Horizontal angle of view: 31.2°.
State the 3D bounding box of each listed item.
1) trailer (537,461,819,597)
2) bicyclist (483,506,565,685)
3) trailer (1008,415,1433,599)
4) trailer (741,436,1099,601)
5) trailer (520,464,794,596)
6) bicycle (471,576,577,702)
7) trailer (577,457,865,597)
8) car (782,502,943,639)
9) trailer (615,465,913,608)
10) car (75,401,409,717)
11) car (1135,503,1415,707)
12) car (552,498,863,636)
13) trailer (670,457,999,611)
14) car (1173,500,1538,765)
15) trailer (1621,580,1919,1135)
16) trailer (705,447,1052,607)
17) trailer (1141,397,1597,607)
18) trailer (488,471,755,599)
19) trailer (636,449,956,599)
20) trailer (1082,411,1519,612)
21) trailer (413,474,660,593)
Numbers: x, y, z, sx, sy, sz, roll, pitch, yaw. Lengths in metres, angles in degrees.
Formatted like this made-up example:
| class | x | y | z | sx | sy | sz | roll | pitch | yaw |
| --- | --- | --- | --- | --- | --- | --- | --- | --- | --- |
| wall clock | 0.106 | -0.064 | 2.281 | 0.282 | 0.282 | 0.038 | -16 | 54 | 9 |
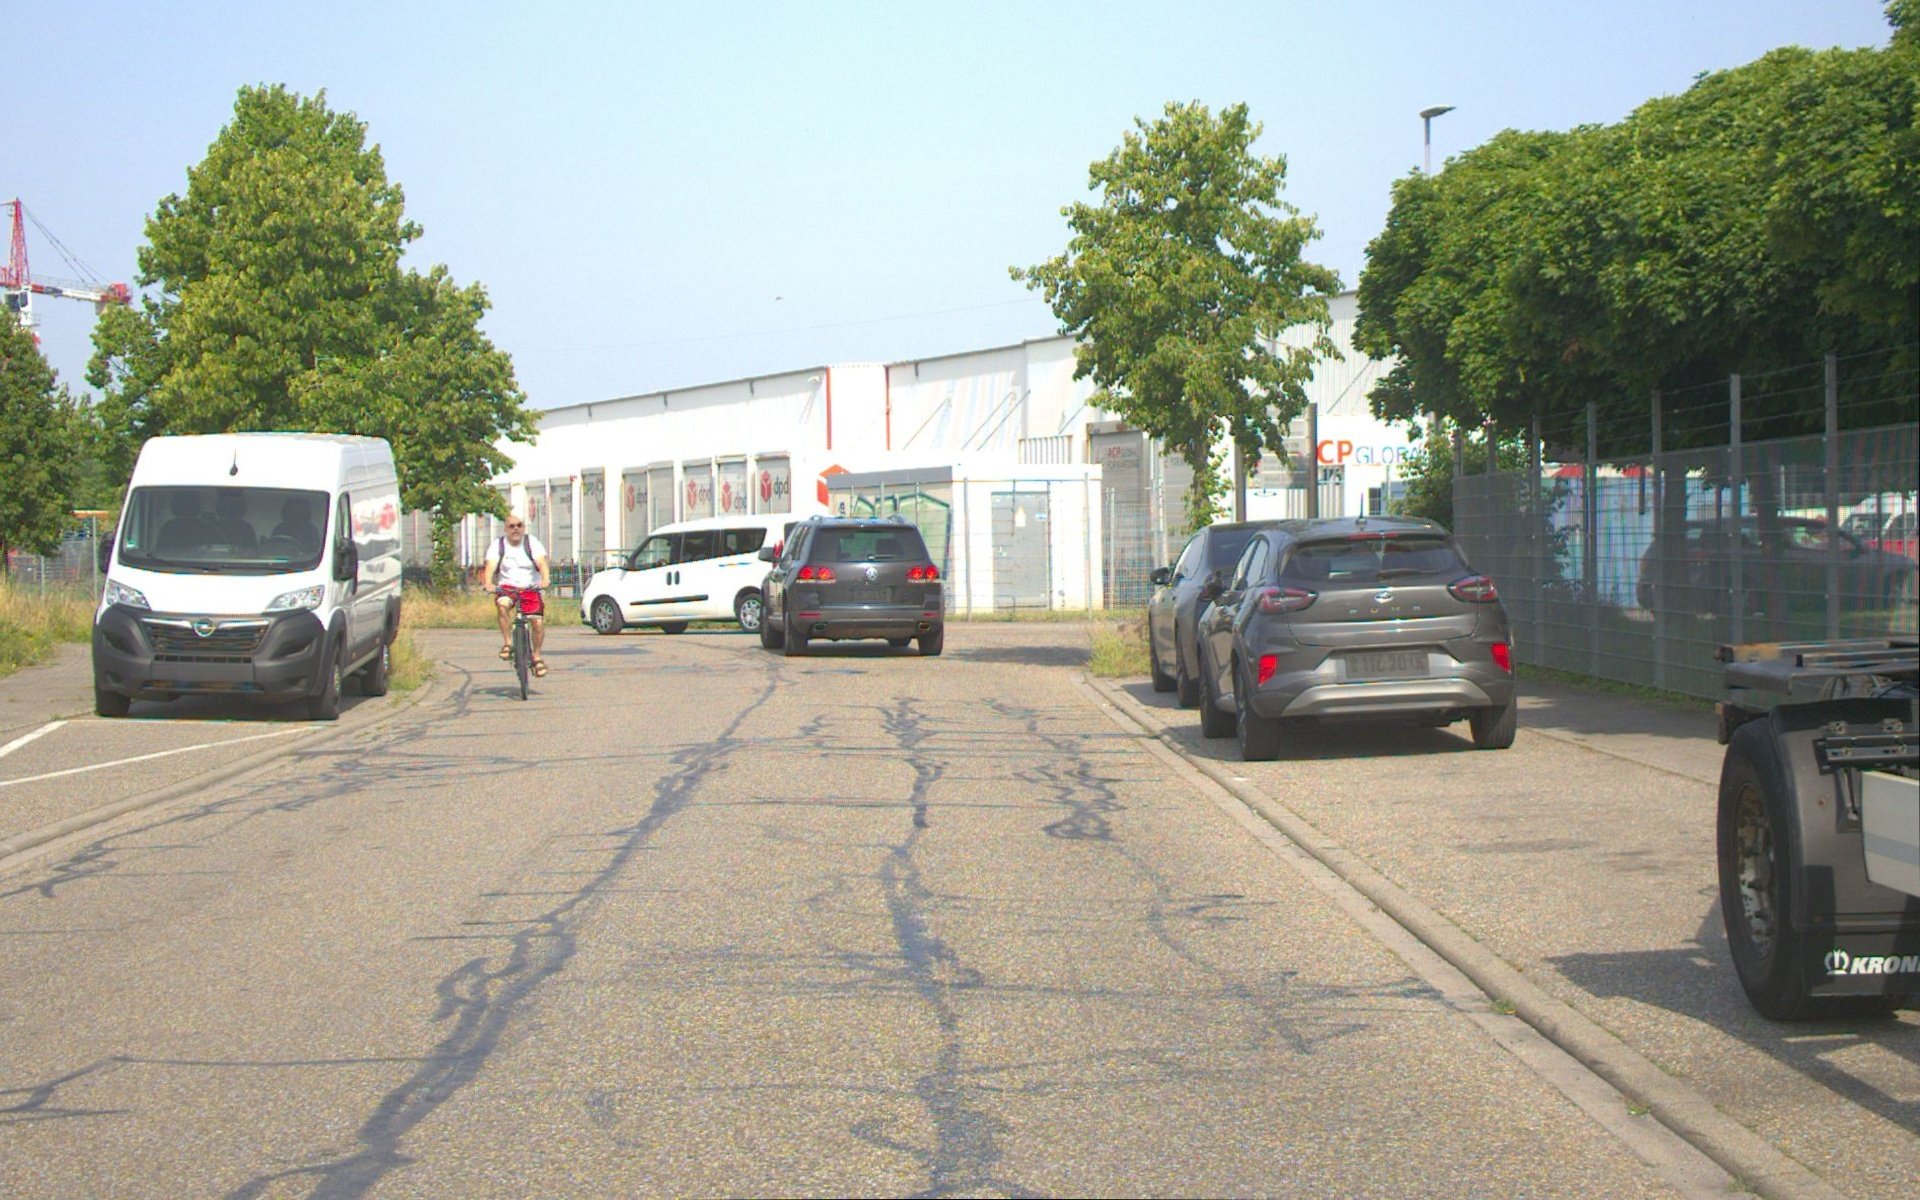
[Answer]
| class | x | y | z | sx | sy | sz | roll | pitch | yaw |
| --- | --- | --- | --- | --- | --- | --- | --- | --- | --- |
| trailer | -8.529 | -2.136 | 104.267 | 7.960 | 3.880 | 2.776 | 1 | 1 | -24 |
| bicyclist | -4.256 | -0.058 | 33.616 | 0.639 | 1.713 | 1.165 | -1 | 1 | -1 |
| trailer | 5.572 | -1.927 | 73.144 | 8.730 | 3.748 | 2.791 | 0 | 0 | -24 |
| trailer | -0.985 | -2.014 | 86.617 | 8.534 | 3.880 | 2.776 | 1 | 1 | -24 |
| trailer | -9.440 | -2.158 | 107.192 | 7.960 | 3.880 | 2.776 | 1 | 1 | -24 |
| bicycle | -4.244 | 0.358 | 33.619 | 0.716 | 1.118 | 2.219 | -3 | 1 | -1 |
| trailer | -7.051 | -2.124 | 101.621 | 7.960 | 3.880 | 2.776 | 1 | 1 | -24 |
| car | -1.190 | -0.369 | 42.740 | 1.880 | 1.581 | 4.114 | -1 | 1 | -1 |
| trailer | -5.621 | -1.811 | 98.998 | 8.031 | 3.880 | 2.776 | 1 | 1 | -24 |
| car | -6.525 | -0.402 | 32.002 | 2.102 | 2.586 | 6.505 | 2 | 1 | -4 |
| car | 2.674 | 0.016 | 30.330 | 1.880 | 1.568 | 5.119 | -2 | 1 | -1 |
| car | -4.045 | -0.510 | 54.801 | 4.619 | 2.103 | 2.124 | -1 | 1 | 36 |
| trailer | -3.359 | -1.751 | 92.313 | 8.305 | 3.880 | 2.776 | 1 | 1 | -24 |
| car | 2.575 | 0.180 | 23.311 | 1.880 | 1.568 | 4.114 | -2 | 1 | -1 |
| trailer | 3.246 | 0.633 | 7.657 | 1.938 | 1.231 | 7.452 | -3 | 1 | -1 |
| trailer | -2.107 | -1.865 | 89.533 | 8.534 | 3.880 | 2.776 | 1 | 1 | -24 |
| trailer | 8.072 | -1.907 | 67.680 | 8.534 | 3.881 | 2.776 | -1 | -1 | -22 |
| trailer | -10.814 | -2.059 | 110.055 | 7.960 | 3.880 | 2.776 | 1 | 1 | -24 |
| trailer | -4.515 | -2.078 | 95.147 | 8.305 | 3.880 | 2.776 | 1 | 1 | -24 |
| trailer | 7.003 | -1.844 | 70.489 | 8.534 | 3.880 | 2.776 | -2 | 1 | -23 |
| trailer | -14.677 | -2.289 | 119.307 | 7.960 | 3.880 | 2.776 | 1 | 1 | -24 |
